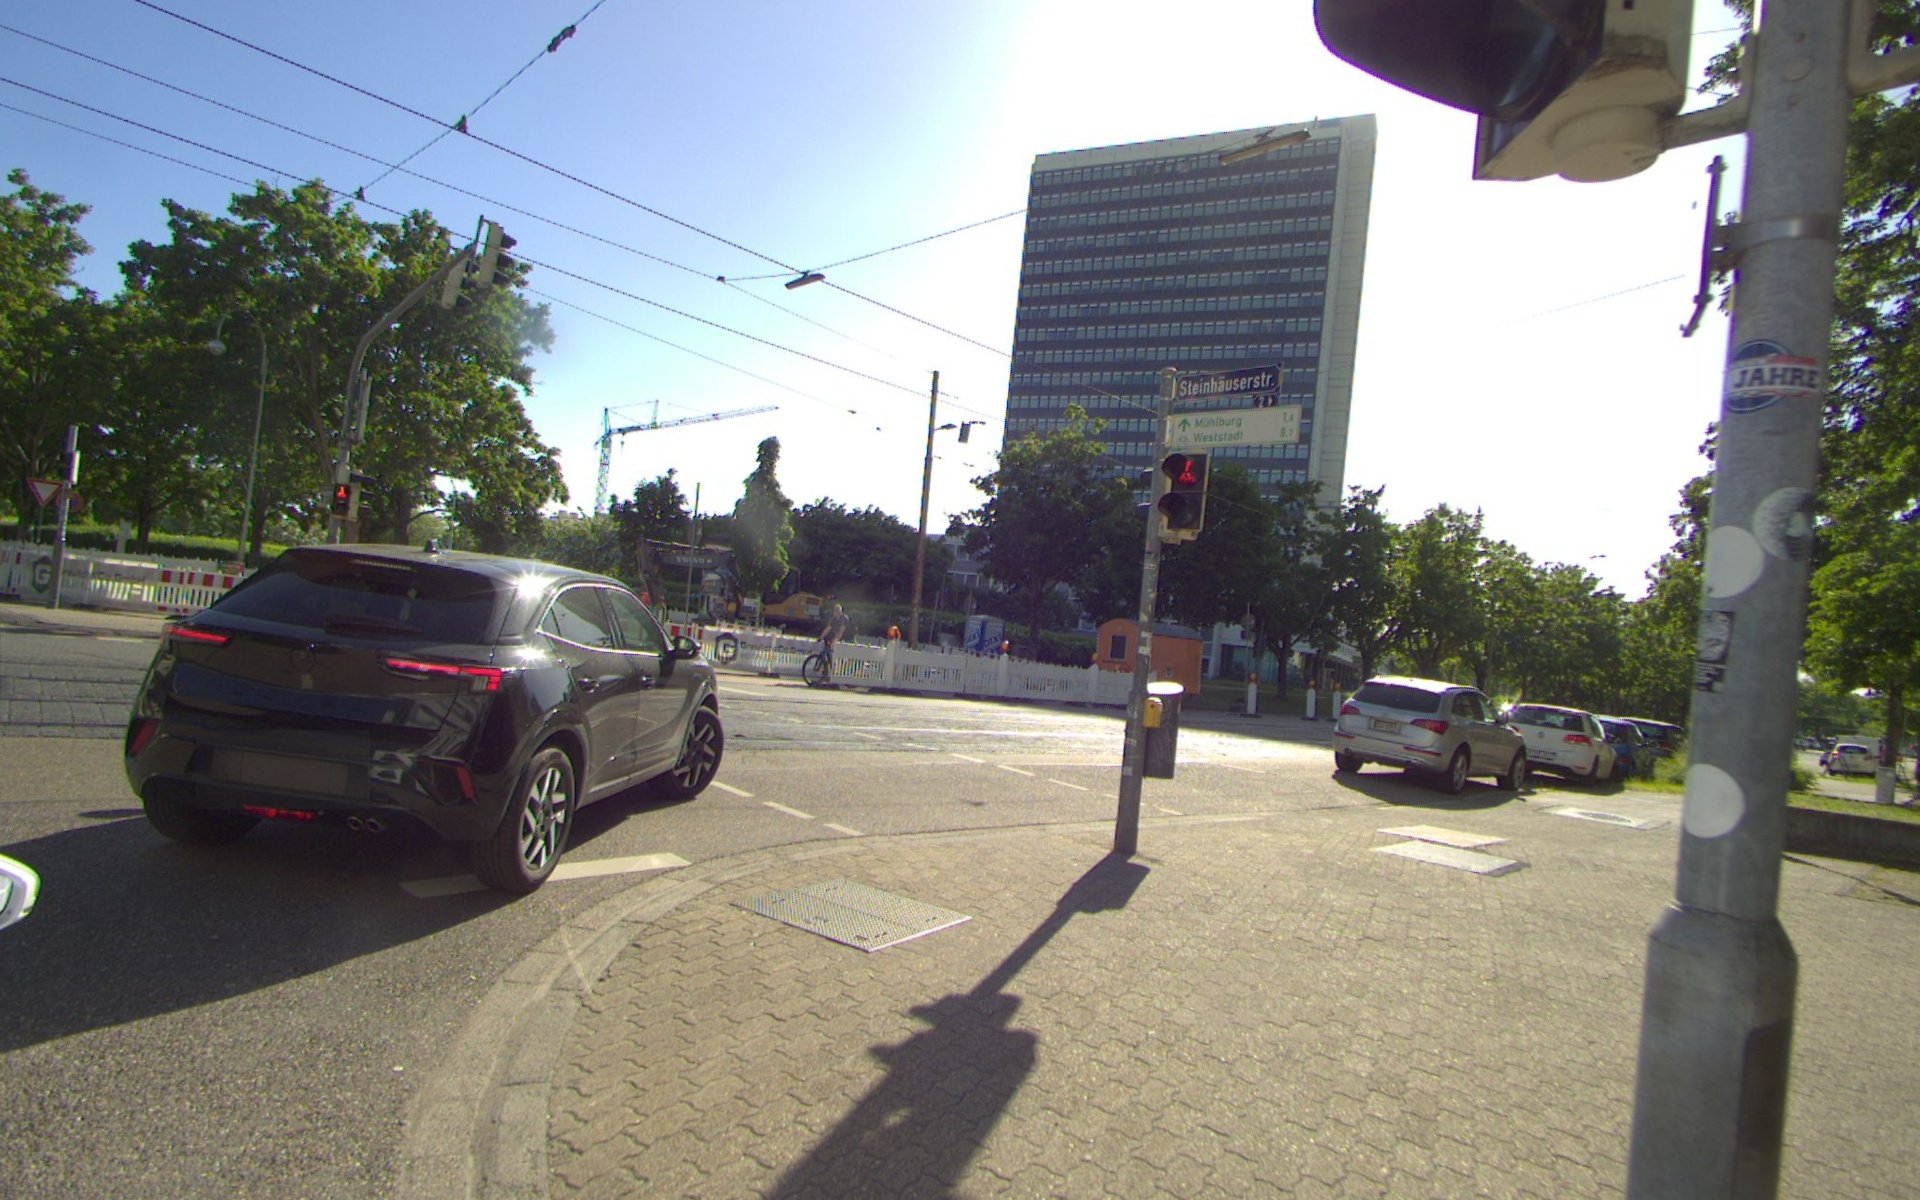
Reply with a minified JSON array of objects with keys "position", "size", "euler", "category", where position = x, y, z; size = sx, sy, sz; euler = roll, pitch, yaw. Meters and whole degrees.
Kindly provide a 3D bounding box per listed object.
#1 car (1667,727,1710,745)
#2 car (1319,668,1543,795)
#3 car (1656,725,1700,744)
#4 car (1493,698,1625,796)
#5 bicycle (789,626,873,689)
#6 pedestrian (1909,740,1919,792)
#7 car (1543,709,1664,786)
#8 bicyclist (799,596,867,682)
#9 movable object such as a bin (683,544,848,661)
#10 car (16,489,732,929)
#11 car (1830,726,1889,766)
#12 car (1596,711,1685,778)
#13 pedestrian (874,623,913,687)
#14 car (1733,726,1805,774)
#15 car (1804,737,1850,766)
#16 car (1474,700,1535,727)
[{"position":[73.666,13.713,101.742],"size":[3.294,1.334,1.394],"euler":[4,-4,43],"category":"car"},{"position":[7.888,2.148,16.649],"size":[1.912,1.639,4.298],"euler":[5,-2,45],"category":"car"},{"position":[70.113,13.132,98.268],"size":[3.294,1.303,1.298],"euler":[4,-4,43],"category":"car"},{"position":[12.038,2.874,20.125],"size":[1.632,1.550,3.494],"euler":[7,-1,40],"category":"car"},{"position":[-2.982,1.344,23.346],"size":[1.771,1.281,0.647],"euler":[7,-1,-41],"category":"bicycle"},{"position":[29.938,5.168,30.900],"size":[0.925,1.571,0.870],"euler":[7,-1,-35],"category":"pedestrian"},{"position":[15.096,3.430,23.538],"size":[1.644,1.423,3.275],"euler":[7,-1,44],"category":"car"},{"position":[-2.960,0.903,23.393],"size":[1.087,1.852,0.905],"euler":[7,-1,-39],"category":"bicyclist"},{"position":[-6.689,0.148,35.048],"size":[2.793,3.401,4.698],"euler":[5,-3,37],"category":"movable object such as a bin"},{"position":[-2.753,0.523,5.869],"size":[1.754,1.534,3.759],"euler":[7,-3,1],"category":"car"},{"position":[44.942,7.294,50.234],"size":[3.852,1.694,1.789],"euler":[8,-2,-43],"category":"car"},{"position":[18.454,3.886,27.240],"size":[1.464,1.478,3.354],"euler":[7,-1,42],"category":"car"},{"position":[-1.777,1.458,26.835],"size":[0.634,1.619,0.629],"euler":[7,-1,-37],"category":"pedestrian"},{"position":[32.899,6.062,40.883],"size":[3.516,1.566,1.787],"euler":[8,-1,-45],"category":"car"},{"position":[54.751,9.564,63.493],"size":[3.670,1.473,1.743],"euler":[8,-2,-43],"category":"car"},{"position":[31.803,6.614,58.763],"size":[2.866,1.190,1.250],"euler":[4,-4,43],"category":"car"}]
